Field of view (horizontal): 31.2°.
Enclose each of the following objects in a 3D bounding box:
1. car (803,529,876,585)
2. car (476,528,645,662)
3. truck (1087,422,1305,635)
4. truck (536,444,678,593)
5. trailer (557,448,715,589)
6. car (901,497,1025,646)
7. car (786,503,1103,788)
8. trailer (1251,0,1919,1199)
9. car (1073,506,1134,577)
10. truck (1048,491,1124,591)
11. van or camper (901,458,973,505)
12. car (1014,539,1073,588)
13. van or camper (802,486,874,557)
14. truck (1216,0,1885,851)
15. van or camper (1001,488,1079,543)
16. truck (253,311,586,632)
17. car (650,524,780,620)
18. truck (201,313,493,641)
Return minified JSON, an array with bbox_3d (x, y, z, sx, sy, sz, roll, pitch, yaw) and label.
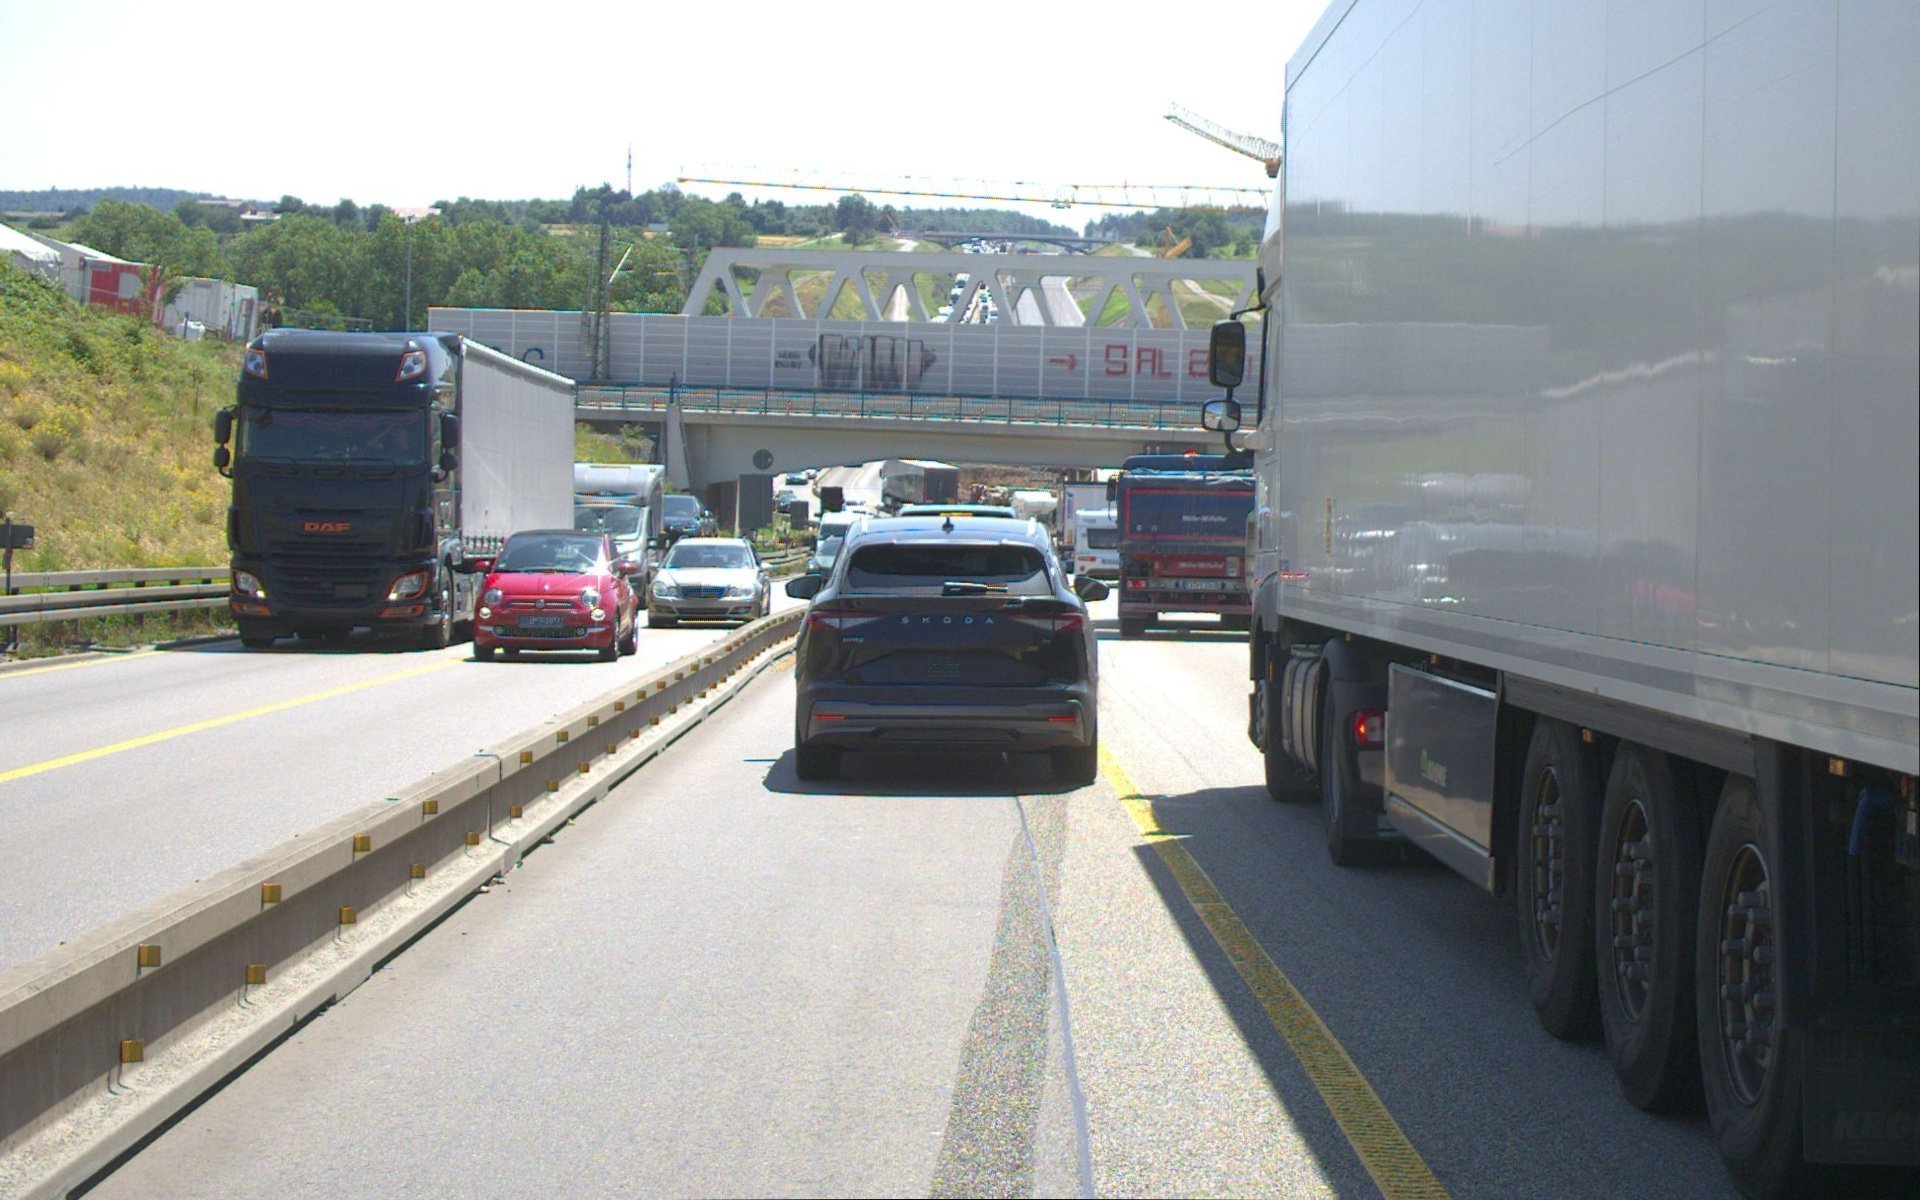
[{"bbox_3d":[-3.085,-1.129,88.687,1.666,1.423,4.000,0,1,1],"label":"car"},{"bbox_3d":[-4.622,-0.091,40.100,1.590,1.481,3.295,1,1,0],"label":"car"},{"bbox_3d":[3.741,-1.215,57.467,2.814,3.124,12.838,1,1,0],"label":"truck"},{"bbox_3d":[-7.156,-1.658,70.322,2.268,2.872,5.851,1,1,0],"label":"truck"},{"bbox_3d":[-7.148,-1.822,77.443,2.268,2.872,13.043,1,1,0],"label":"trailer"},{"bbox_3d":[0.016,-0.390,43.706,1.475,1.789,3.298,1,1,-1],"label":"car"},{"bbox_3d":[-0.095,0.223,21.307,1.800,1.615,3.298,1,1,0],"label":"car"},{"bbox_3d":[2.982,-0.705,11.465,2.801,4.044,14.118,1,1,0],"label":"trailer"},{"bbox_3d":[4.727,-1.937,113.433,1.661,2.262,3.797,2,1,-2],"label":"car"},{"bbox_3d":[5.585,-2.654,153.939,3.176,4.303,9.258,1,1,1],"label":"truck"},{"bbox_3d":[-1.774,-8.891,257.730,3.942,3.408,8.409,1,2,-10],"label":"van or camper"},{"bbox_3d":[2.384,-1.053,98.873,1.491,1.326,3.244,2,1,-2],"label":"car"},{"bbox_3d":[-4.362,-2.795,123.369,2.216,2.472,4.750,1,1,2],"label":"van or camper"},{"bbox_3d":[2.996,-0.889,18.869,2.776,4.044,4.905,1,1,0],"label":"truck"},{"bbox_3d":[5.162,-5.504,223.318,3.942,3.408,8.408,1,2,-6],"label":"van or camper"},{"bbox_3d":[-7.717,-1.813,51.211,2.767,4.073,13.807,1,1,0],"label":"truck"},{"bbox_3d":[-3.958,-0.490,56.109,1.826,1.481,4.196,1,1,0],"label":"car"},{"bbox_3d":[-7.690,-1.526,43.703,2.767,3.871,4.964,1,1,0],"label":"truck"}]
